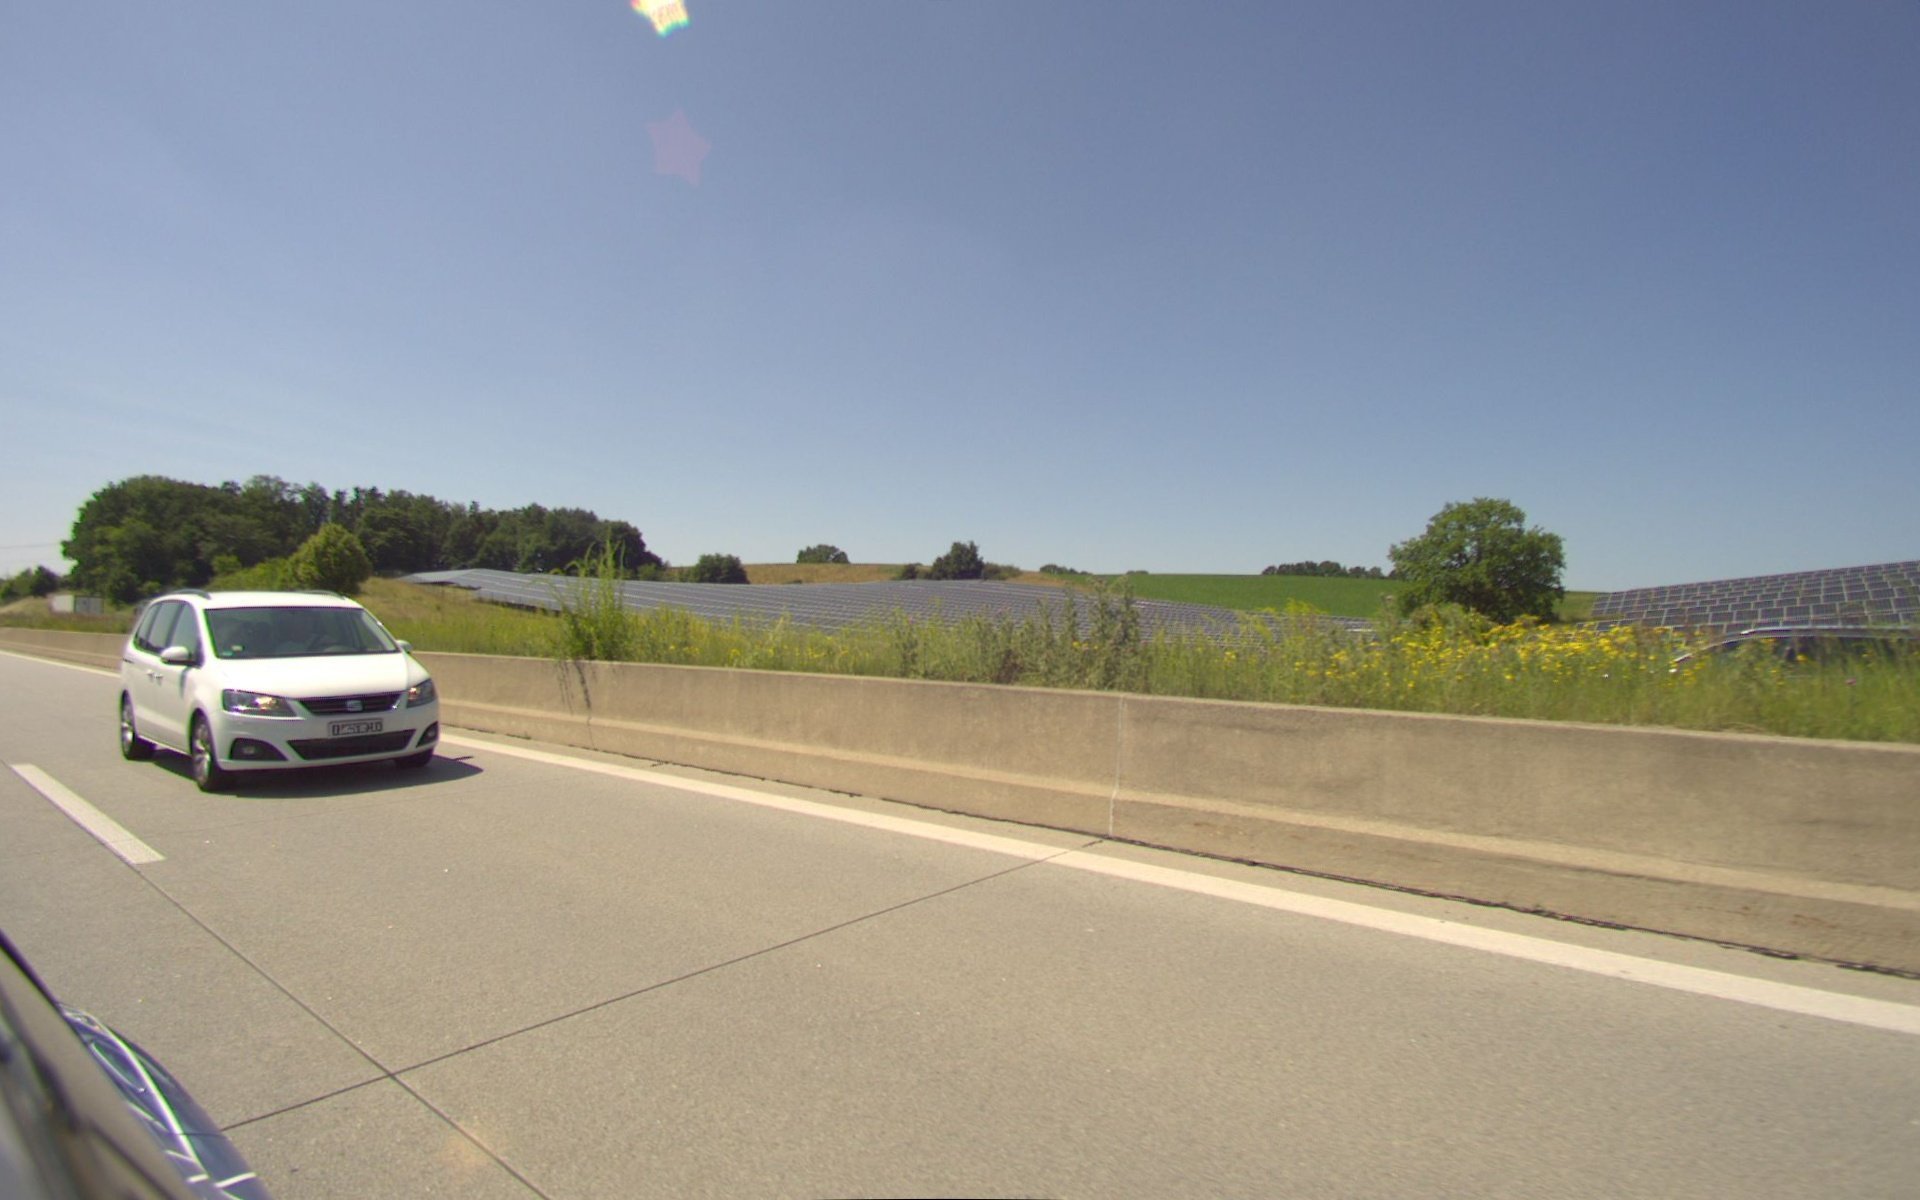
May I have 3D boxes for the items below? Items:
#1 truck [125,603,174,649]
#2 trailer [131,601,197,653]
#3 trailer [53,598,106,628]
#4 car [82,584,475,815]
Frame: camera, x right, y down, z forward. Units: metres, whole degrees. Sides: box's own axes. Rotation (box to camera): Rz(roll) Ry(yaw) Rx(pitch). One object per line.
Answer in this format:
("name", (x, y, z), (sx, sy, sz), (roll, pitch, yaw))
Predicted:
("truck", (-72.455, 2.300, 90.493), (4.351, 3.981, 2.716), (-1, 0, 41))
("trailer", (-68.241, 2.280, 86.659), (10.253, 4.223, 2.703), (-1, -1, 42))
("trailer", (-101.900, 1.452, 116.985), (14.501, 3.207, 2.803), (-1, 0, 42))
("car", (-7.151, 0.756, 10.245), (6.033, 1.721, 1.826), (-1, 0, 41))
